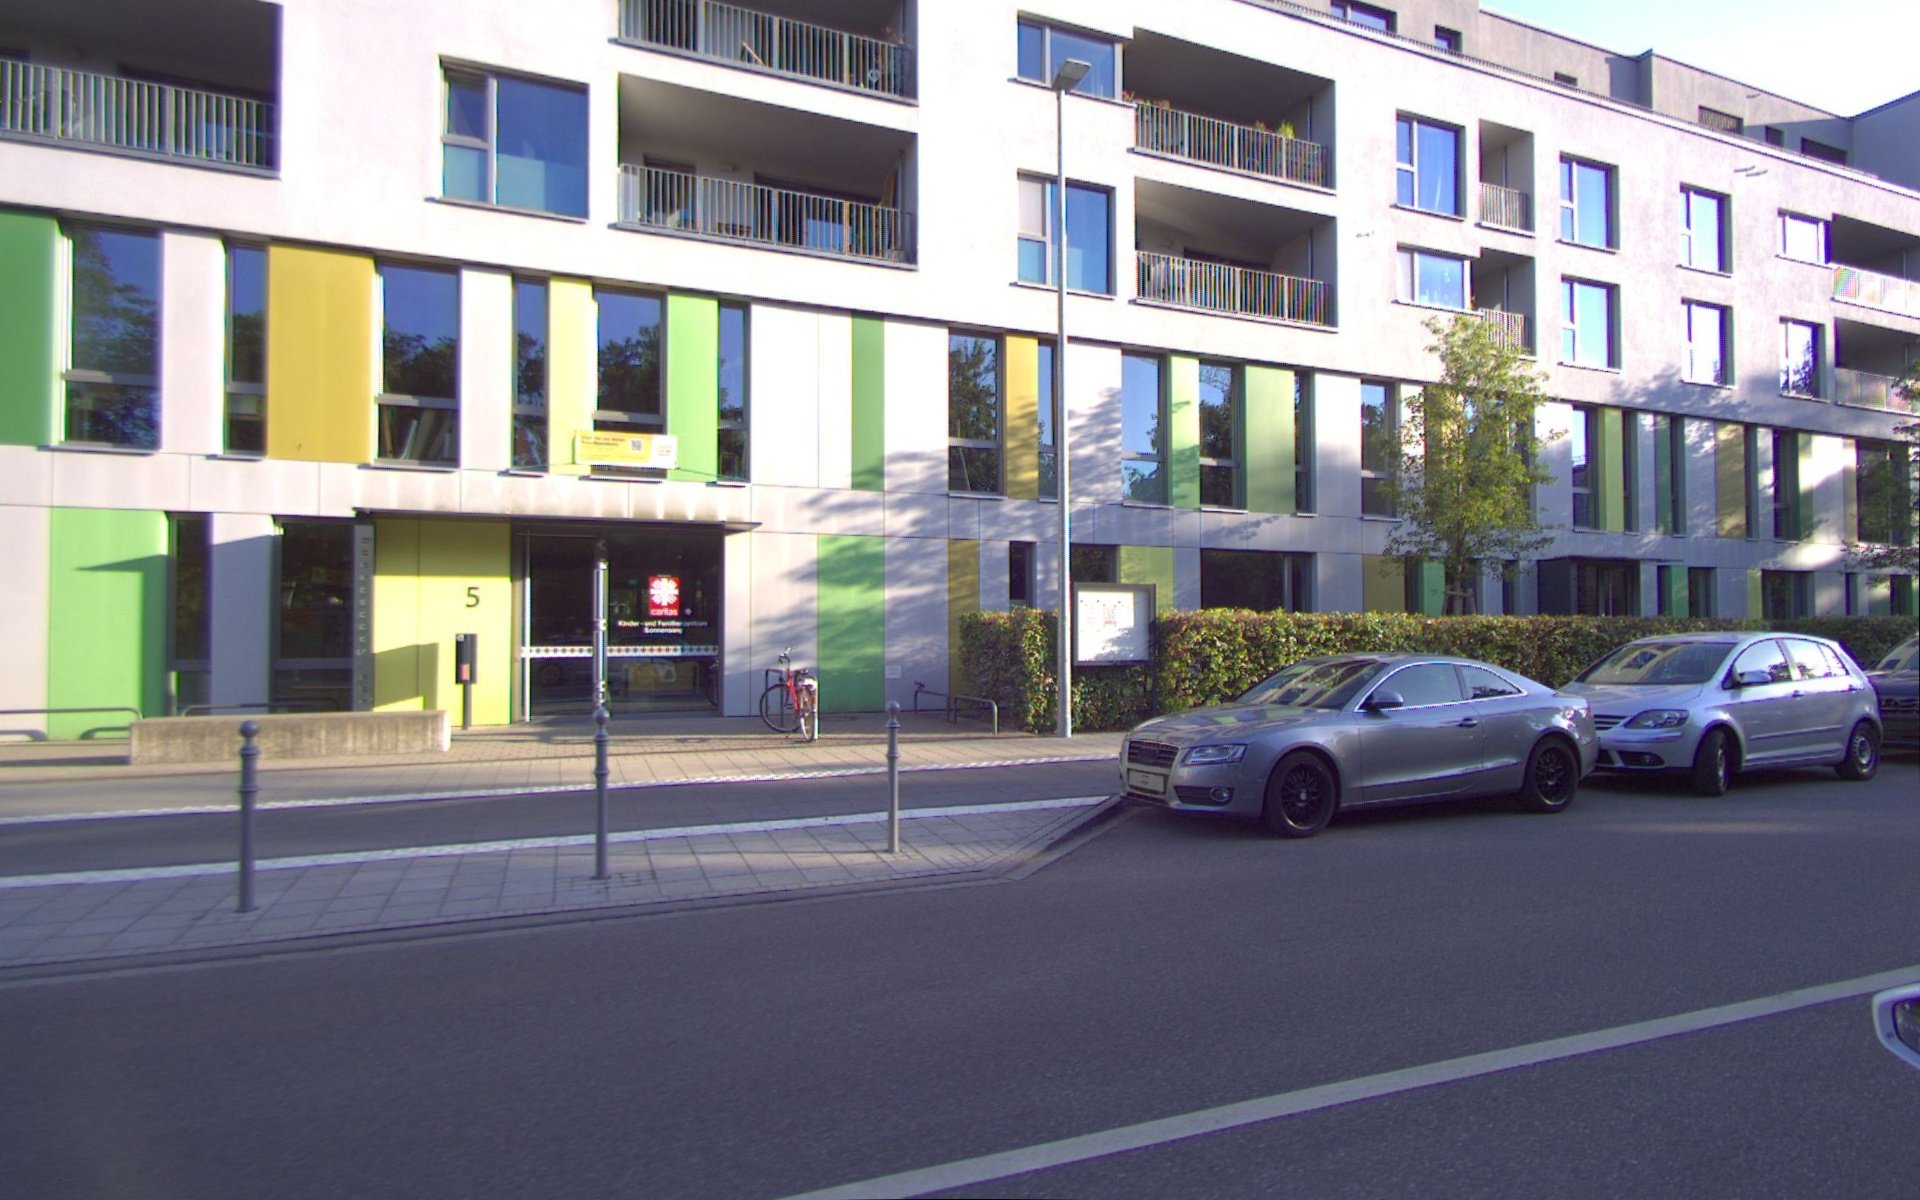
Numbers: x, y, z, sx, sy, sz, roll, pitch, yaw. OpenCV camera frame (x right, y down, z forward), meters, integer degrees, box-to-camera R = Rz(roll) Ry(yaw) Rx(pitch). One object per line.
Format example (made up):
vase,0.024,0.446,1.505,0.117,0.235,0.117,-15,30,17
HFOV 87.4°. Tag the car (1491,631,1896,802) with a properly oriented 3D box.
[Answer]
car,7.908,1.124,10.826,4.059,1.554,1.738,1,-2,-24

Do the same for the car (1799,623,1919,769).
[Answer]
car,13.017,1.137,12.807,4.354,1.698,1.738,0,-3,-23

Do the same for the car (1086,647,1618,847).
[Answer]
car,3.420,1.120,8.772,4.332,1.374,1.739,1,-2,-22

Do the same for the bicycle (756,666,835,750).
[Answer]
bicycle,-2.178,1.373,13.133,0.609,0.930,1.747,1,-1,-23
